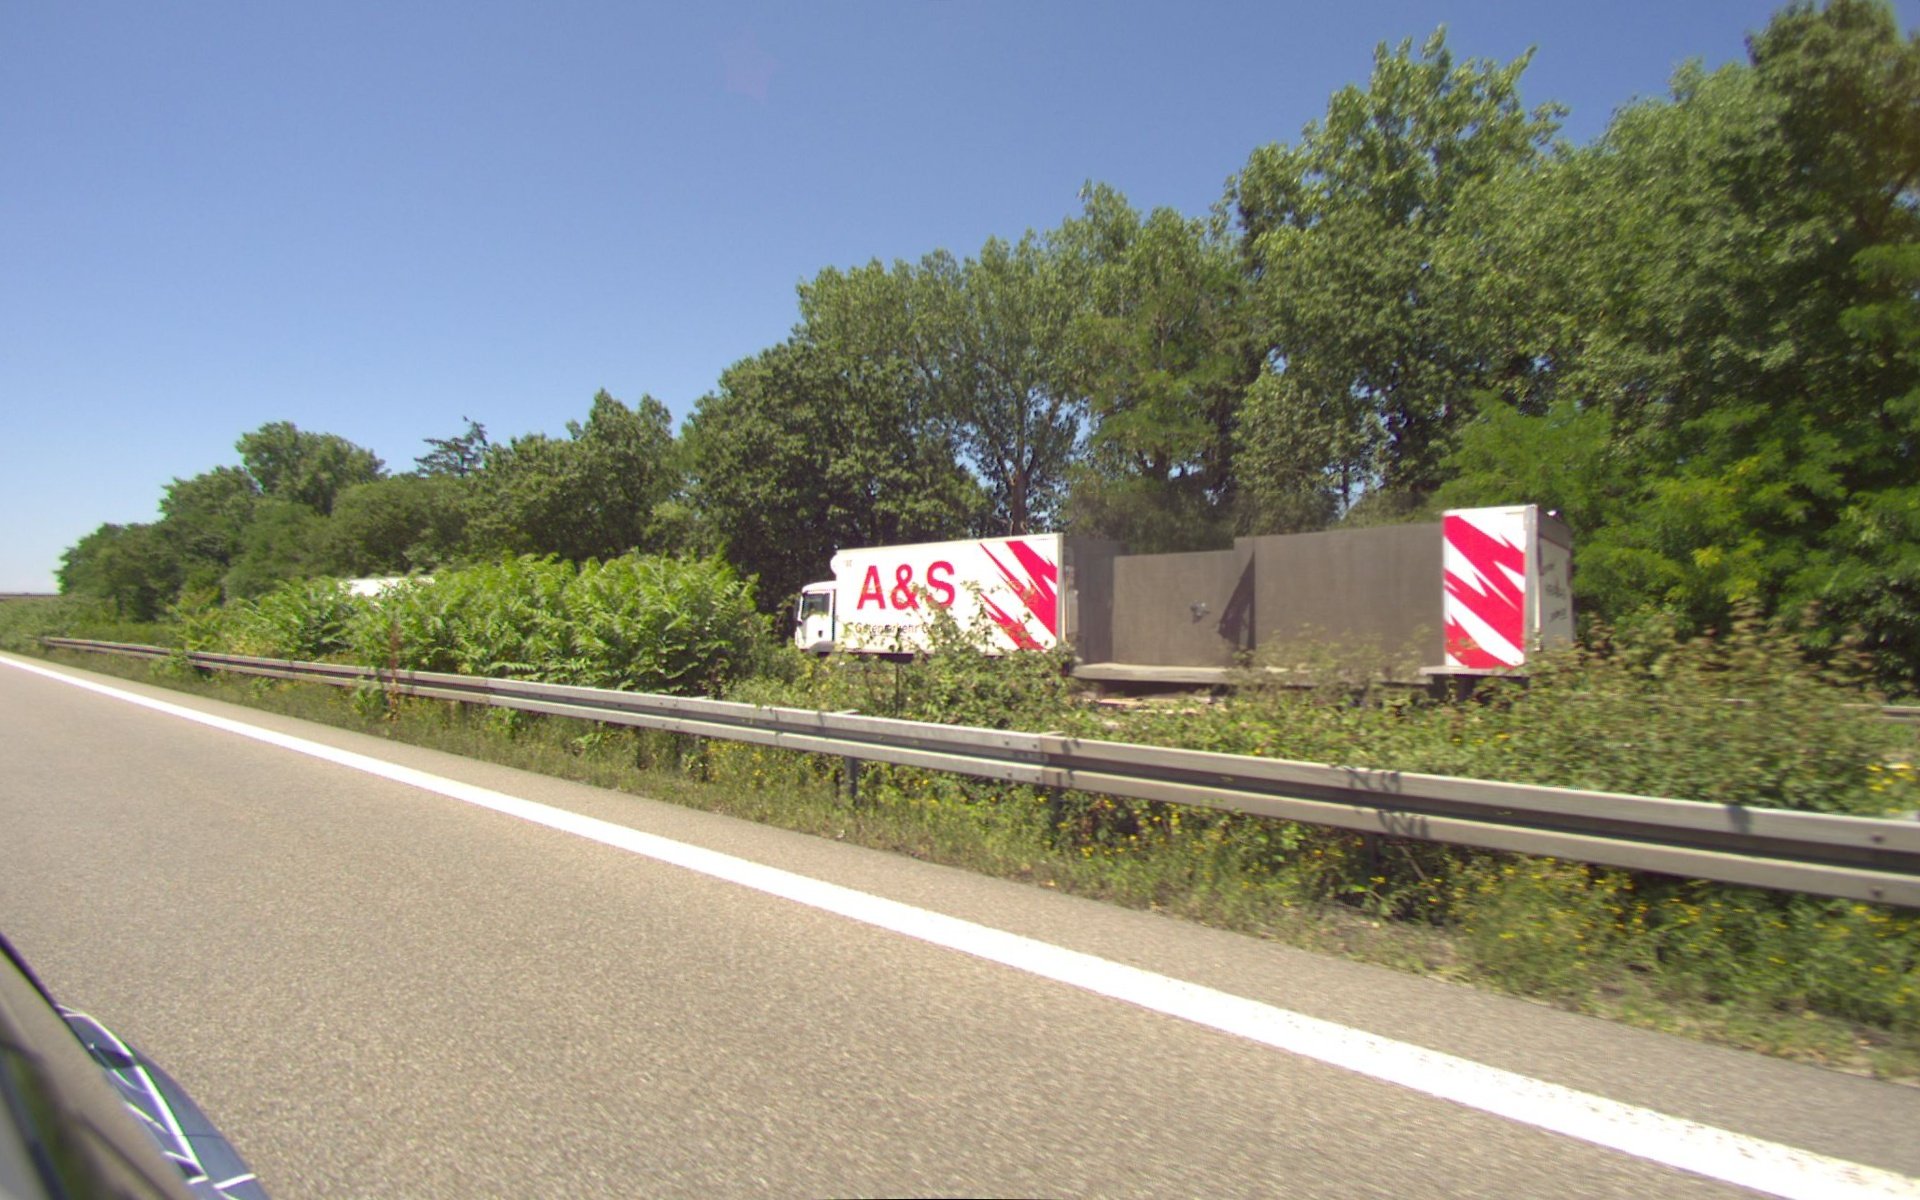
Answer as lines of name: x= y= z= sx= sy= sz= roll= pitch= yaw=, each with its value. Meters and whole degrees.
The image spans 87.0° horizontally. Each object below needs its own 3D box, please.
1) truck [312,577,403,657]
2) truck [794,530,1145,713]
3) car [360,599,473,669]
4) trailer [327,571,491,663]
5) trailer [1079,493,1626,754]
truck: x=-33.152 y=0.966 z=55.620 sx=5.860 sy=4.122 sz=2.458 roll=-1 pitch=-4 yaw=42
truck: x=-0.105 y=0.536 z=25.533 sx=9.273 sy=3.857 sz=2.895 roll=-1 pitch=-2 yaw=42
car: x=-20.711 y=1.250 z=38.490 sx=5.084 sy=2.485 sz=2.102 roll=-1 pitch=-2 yaw=41
trailer: x=-28.168 y=0.902 z=51.138 sx=14.242 sy=4.121 sz=2.510 roll=-1 pitch=-3 yaw=42
trailer: x=6.898 y=0.431 z=19.208 sx=9.273 sy=3.857 sz=2.895 roll=-1 pitch=-2 yaw=42
